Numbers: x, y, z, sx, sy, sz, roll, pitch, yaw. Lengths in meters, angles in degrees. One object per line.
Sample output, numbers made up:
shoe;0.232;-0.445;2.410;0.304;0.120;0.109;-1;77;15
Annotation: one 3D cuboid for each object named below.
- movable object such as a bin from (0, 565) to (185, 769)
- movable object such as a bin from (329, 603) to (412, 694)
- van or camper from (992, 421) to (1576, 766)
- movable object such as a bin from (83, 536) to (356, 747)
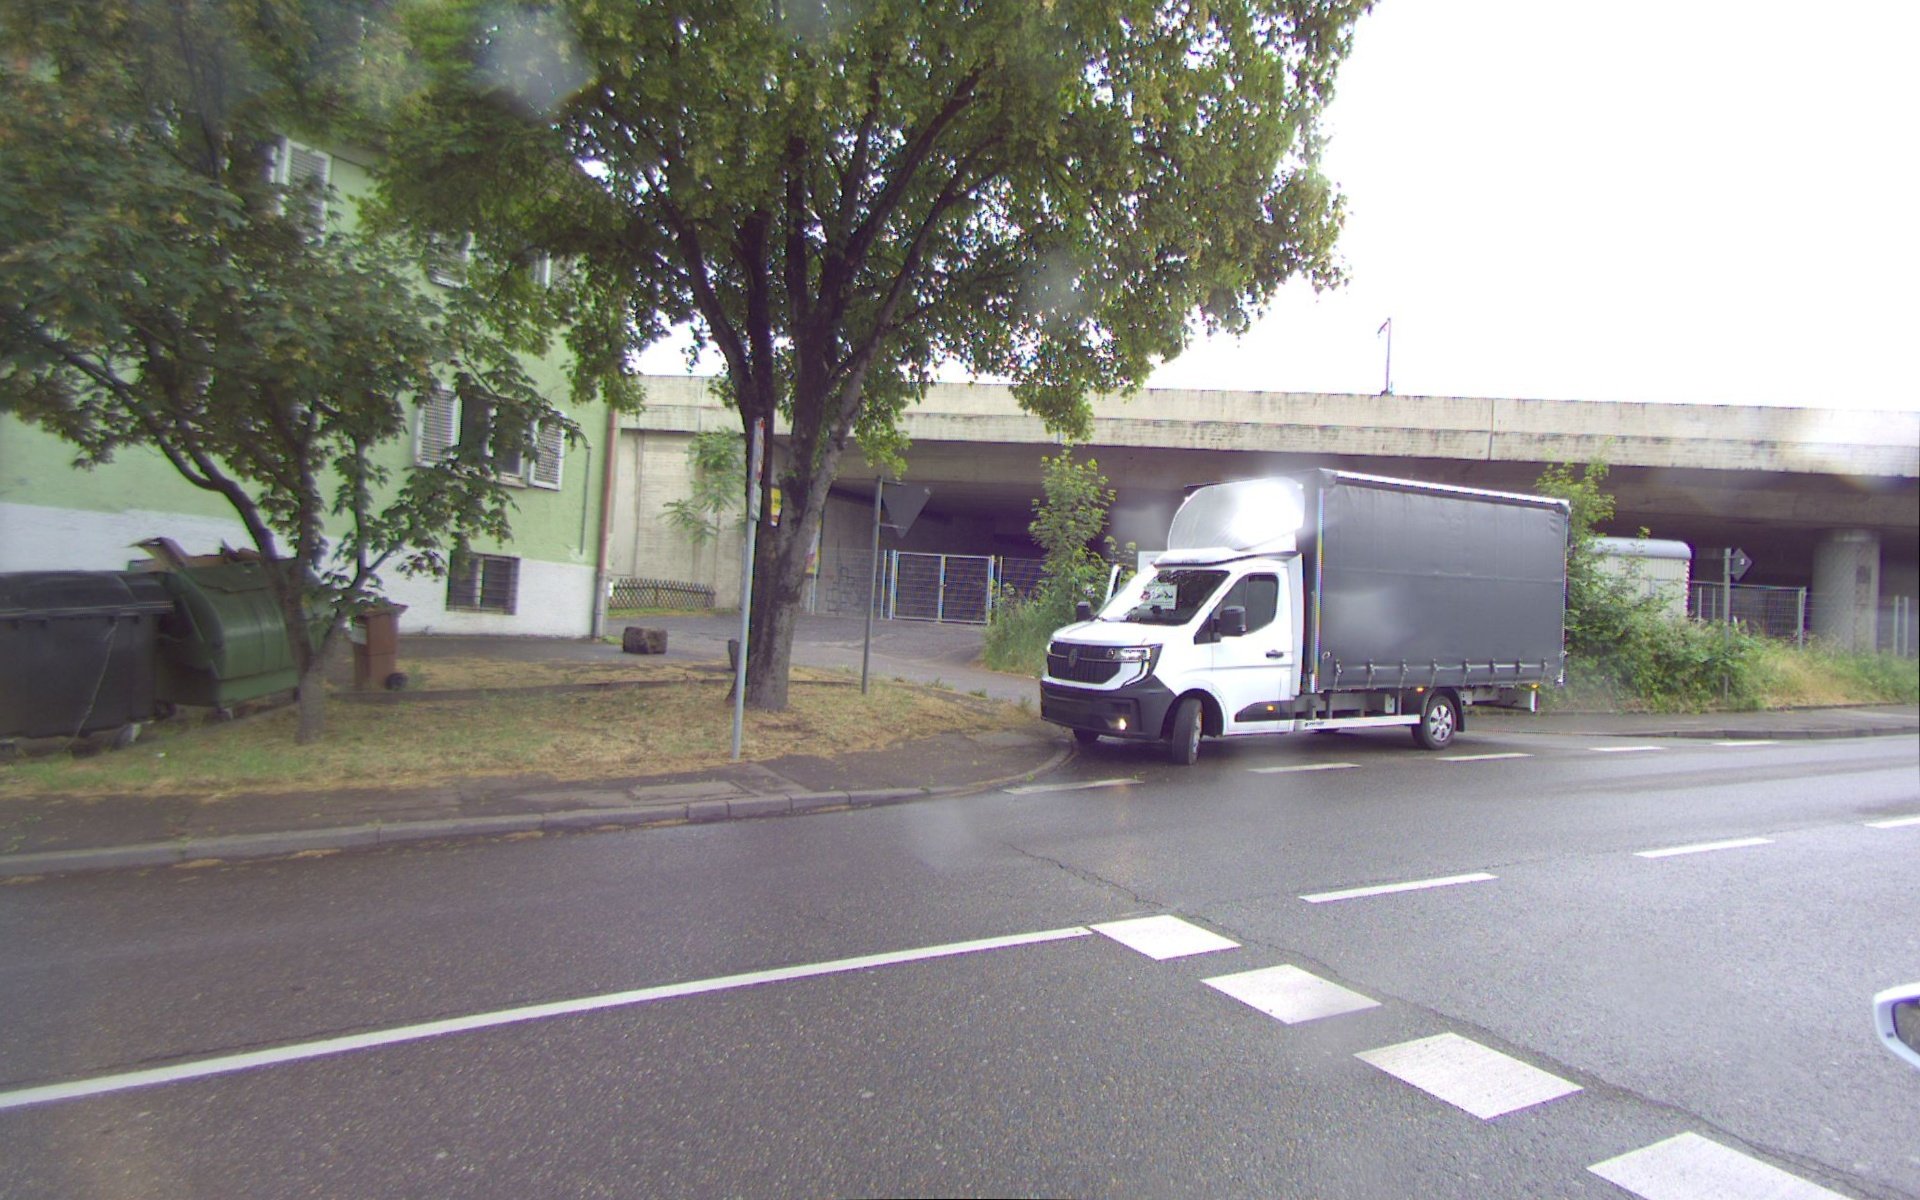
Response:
movable object such as a bin;-7.421;0.460;8.039;1.444;1.460;1.376;2;2;22
movable object such as a bin;-6.375;0.514;10.873;0.531;0.922;0.562;2;2;22
van or camper;4.389;0.056;12.931;7.670;3.379;2.686;2;-1;-30
movable object such as a bin;-6.905;0.318;9.446;1.547;1.785;1.453;2;2;22
